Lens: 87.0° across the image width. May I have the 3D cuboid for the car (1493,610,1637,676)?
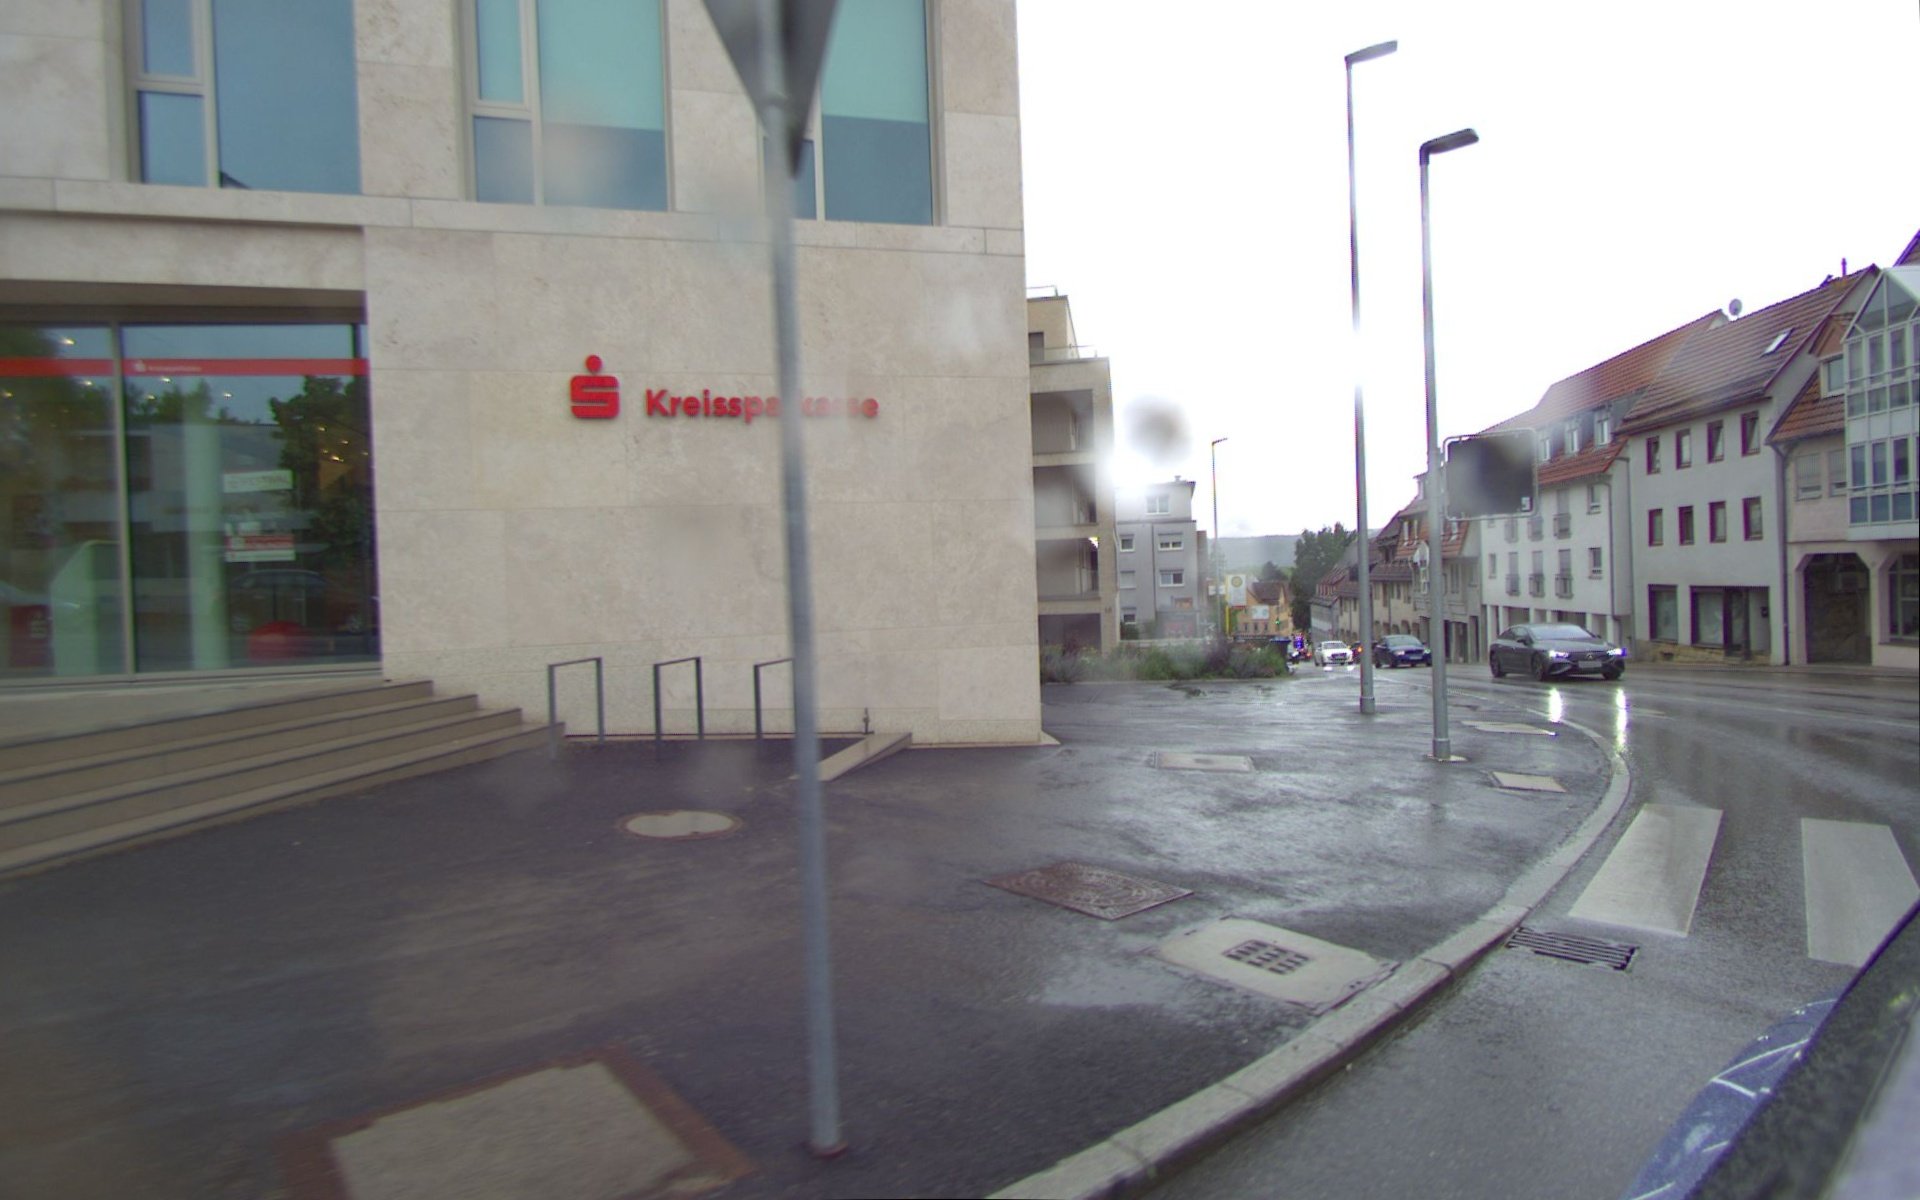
[{"bbox_3d":[16.058,1.175,27.170,1.939,1.579,4.601,-2,-3,13],"label":"car"}]

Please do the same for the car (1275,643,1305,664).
[{"bbox_3d":[26.660,4.356,81.978,1.940,1.629,4.361,-2,-5,14],"label":"car"}]

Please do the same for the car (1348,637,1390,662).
[{"bbox_3d":[28.498,3.439,70.704,1.758,1.651,4.202,-2,-3,9],"label":"car"}]

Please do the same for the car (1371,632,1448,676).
[{"bbox_3d":[19.504,2.410,44.119,1.937,1.794,4.367,-2,-5,10],"label":"car"}]

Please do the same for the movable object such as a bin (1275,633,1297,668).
[{"bbox_3d":[10.310,1.600,32.023,0.588,1.076,0.576,-1,-3,12],"label":"movable object such as a bin"}]

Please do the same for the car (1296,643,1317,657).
[{"bbox_3d":[35.477,5.090,103.590,1.647,1.304,3.555,0,-1,13],"label":"car"}]

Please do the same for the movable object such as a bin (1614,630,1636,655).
[{"bbox_3d":[27.668,1.768,42.097,0.501,1.020,0.583,-2,-4,9],"label":"movable object such as a bin"}]

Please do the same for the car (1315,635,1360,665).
[{"bbox_3d":[22.267,2.983,59.805,1.940,1.629,4.361,-2,-5,14],"label":"car"}]
